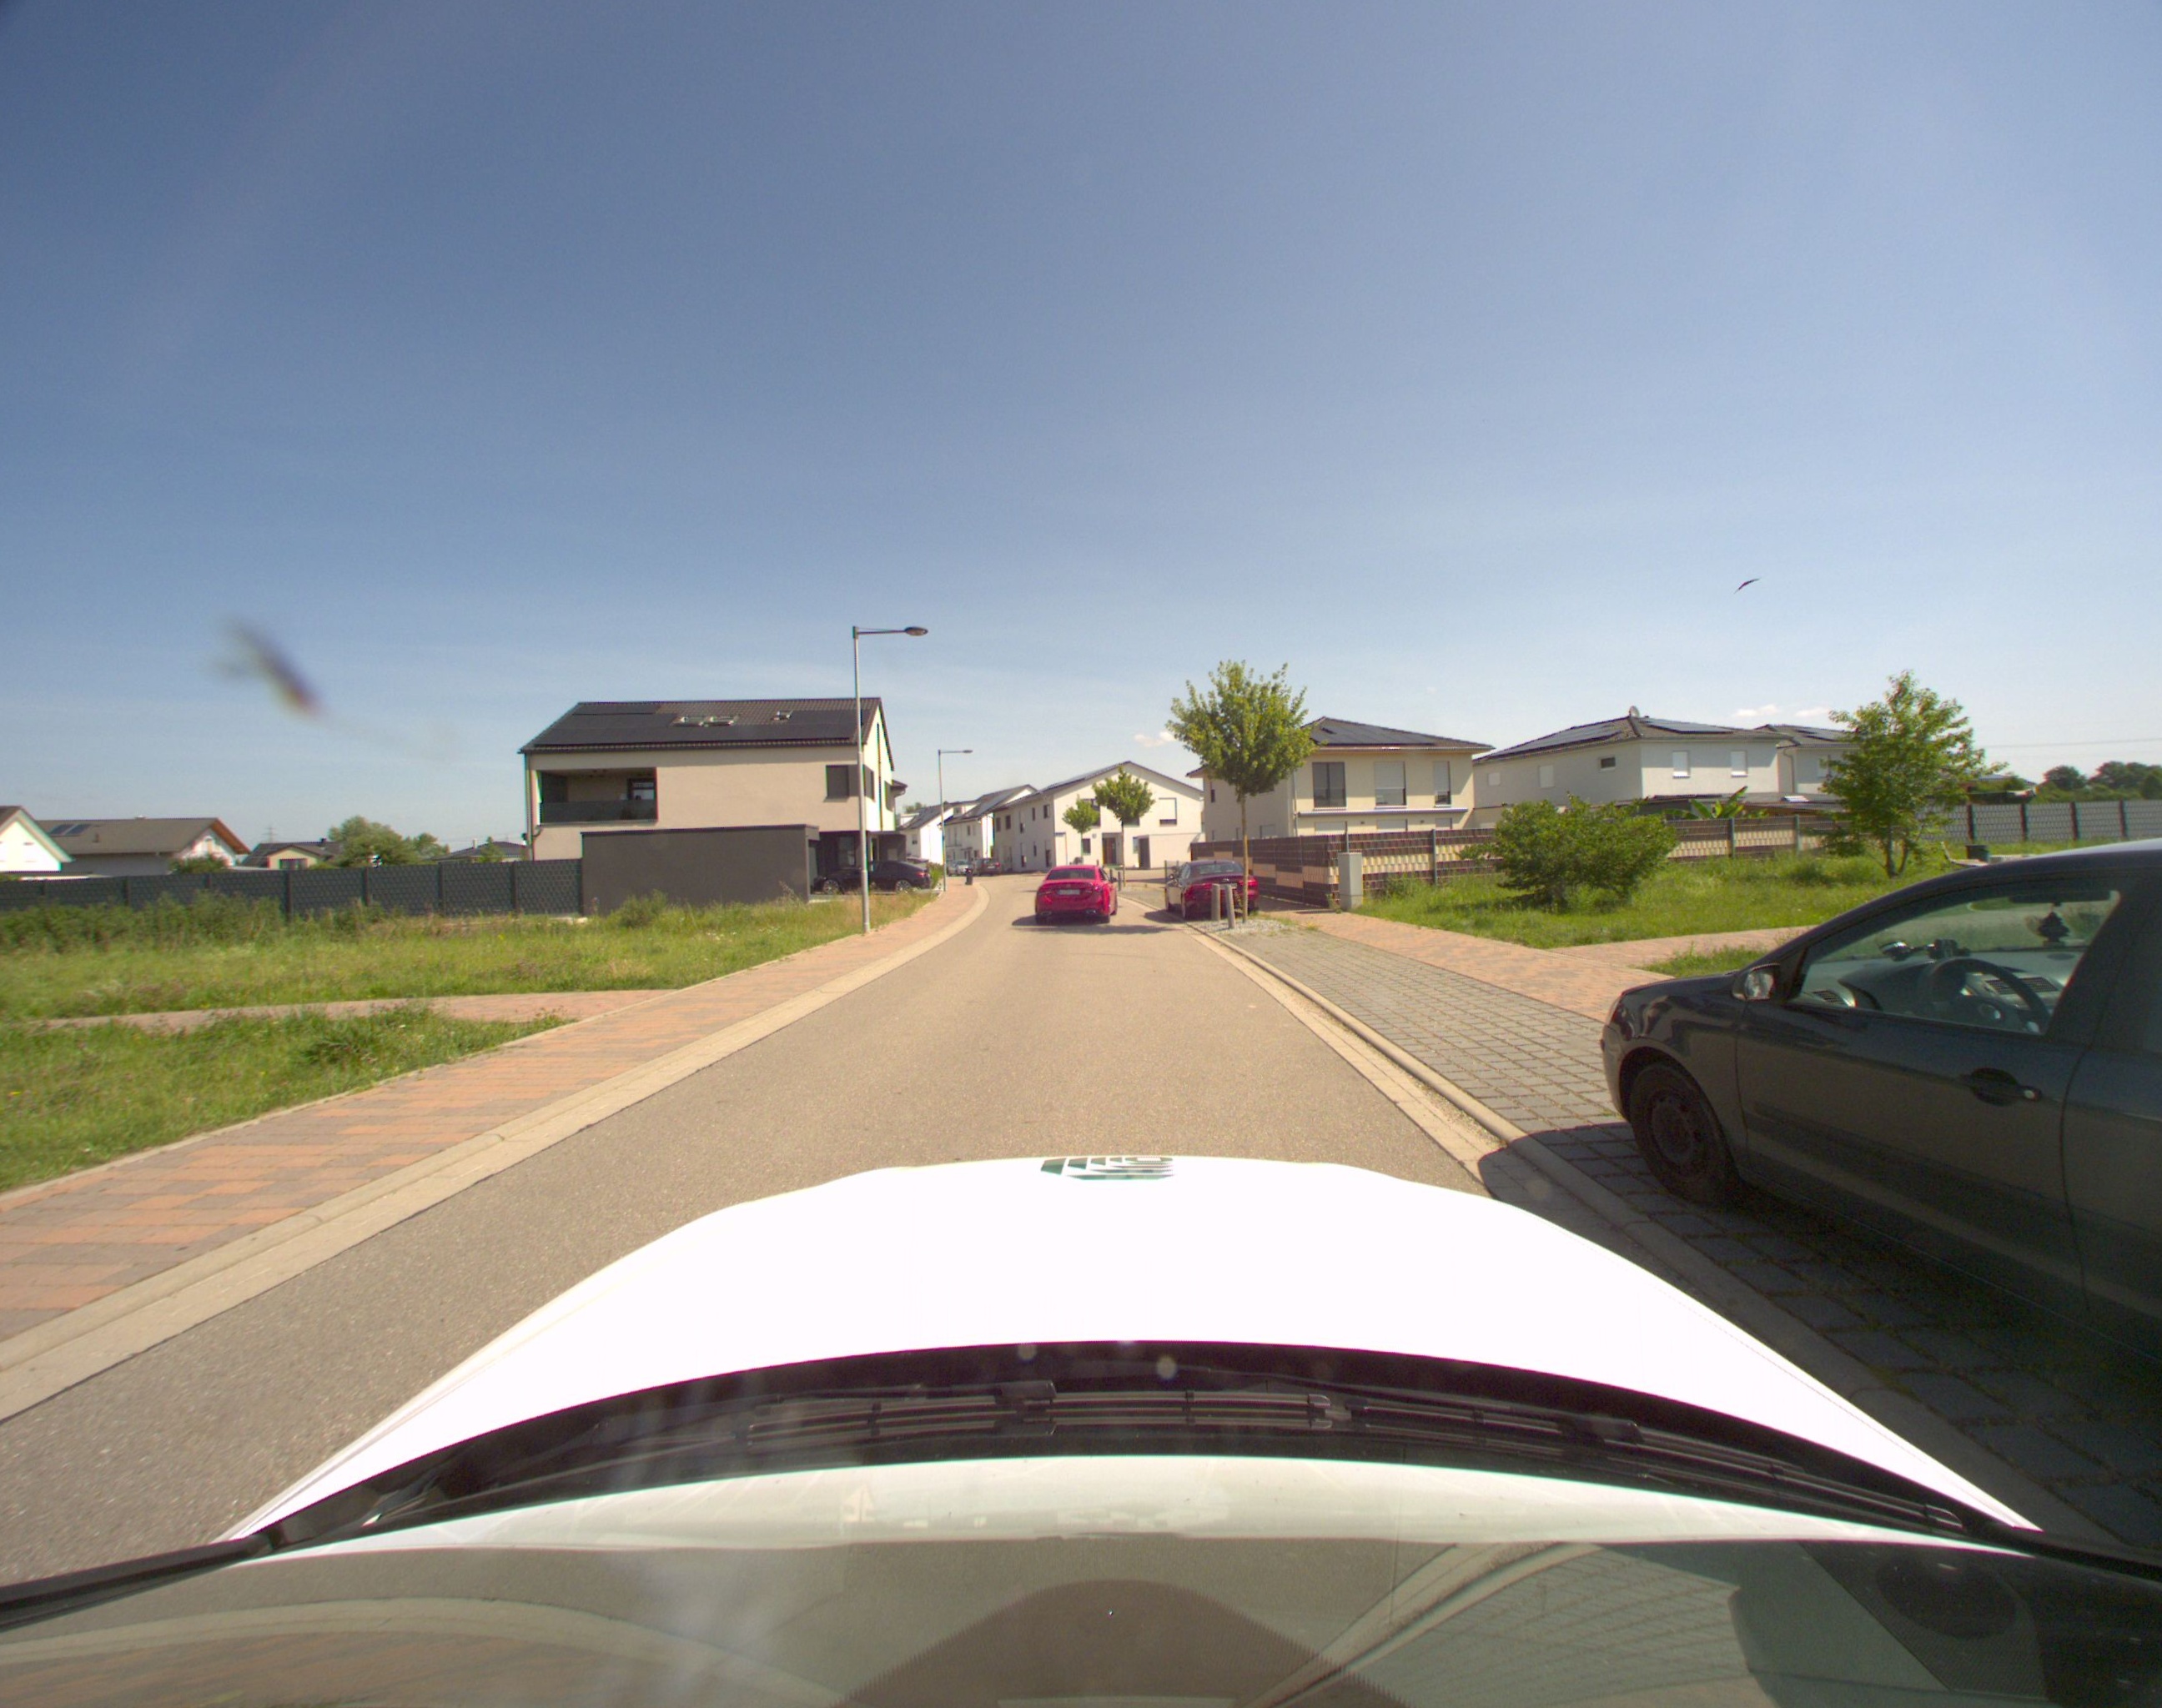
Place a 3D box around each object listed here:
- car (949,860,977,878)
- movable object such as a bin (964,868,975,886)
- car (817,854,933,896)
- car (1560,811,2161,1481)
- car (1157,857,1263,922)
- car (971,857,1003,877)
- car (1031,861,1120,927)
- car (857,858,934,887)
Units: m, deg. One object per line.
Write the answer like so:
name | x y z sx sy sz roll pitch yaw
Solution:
car | -10.581 1.314 73.057 1.682 1.464 3.918 -3 0 -20
movable object such as a bin | -6.013 1.254 43.907 0.532 0.936 0.526 0 0 3
car | -8.394 0.853 33.437 4.370 1.631 1.767 0 -1 -6
car | 3.177 0.629 2.268 1.592 1.475 3.676 -1 0 1
car | 3.217 0.835 21.262 1.750 1.363 4.571 -5 0 -2
car | -7.338 1.028 63.551 1.731 1.423 3.976 -3 0 -17
car | -0.023 0.942 20.894 1.754 1.438 4.527 -1 0 6
car | -10.499 1.060 46.390 3.979 1.486 1.752 -2 0 -4
